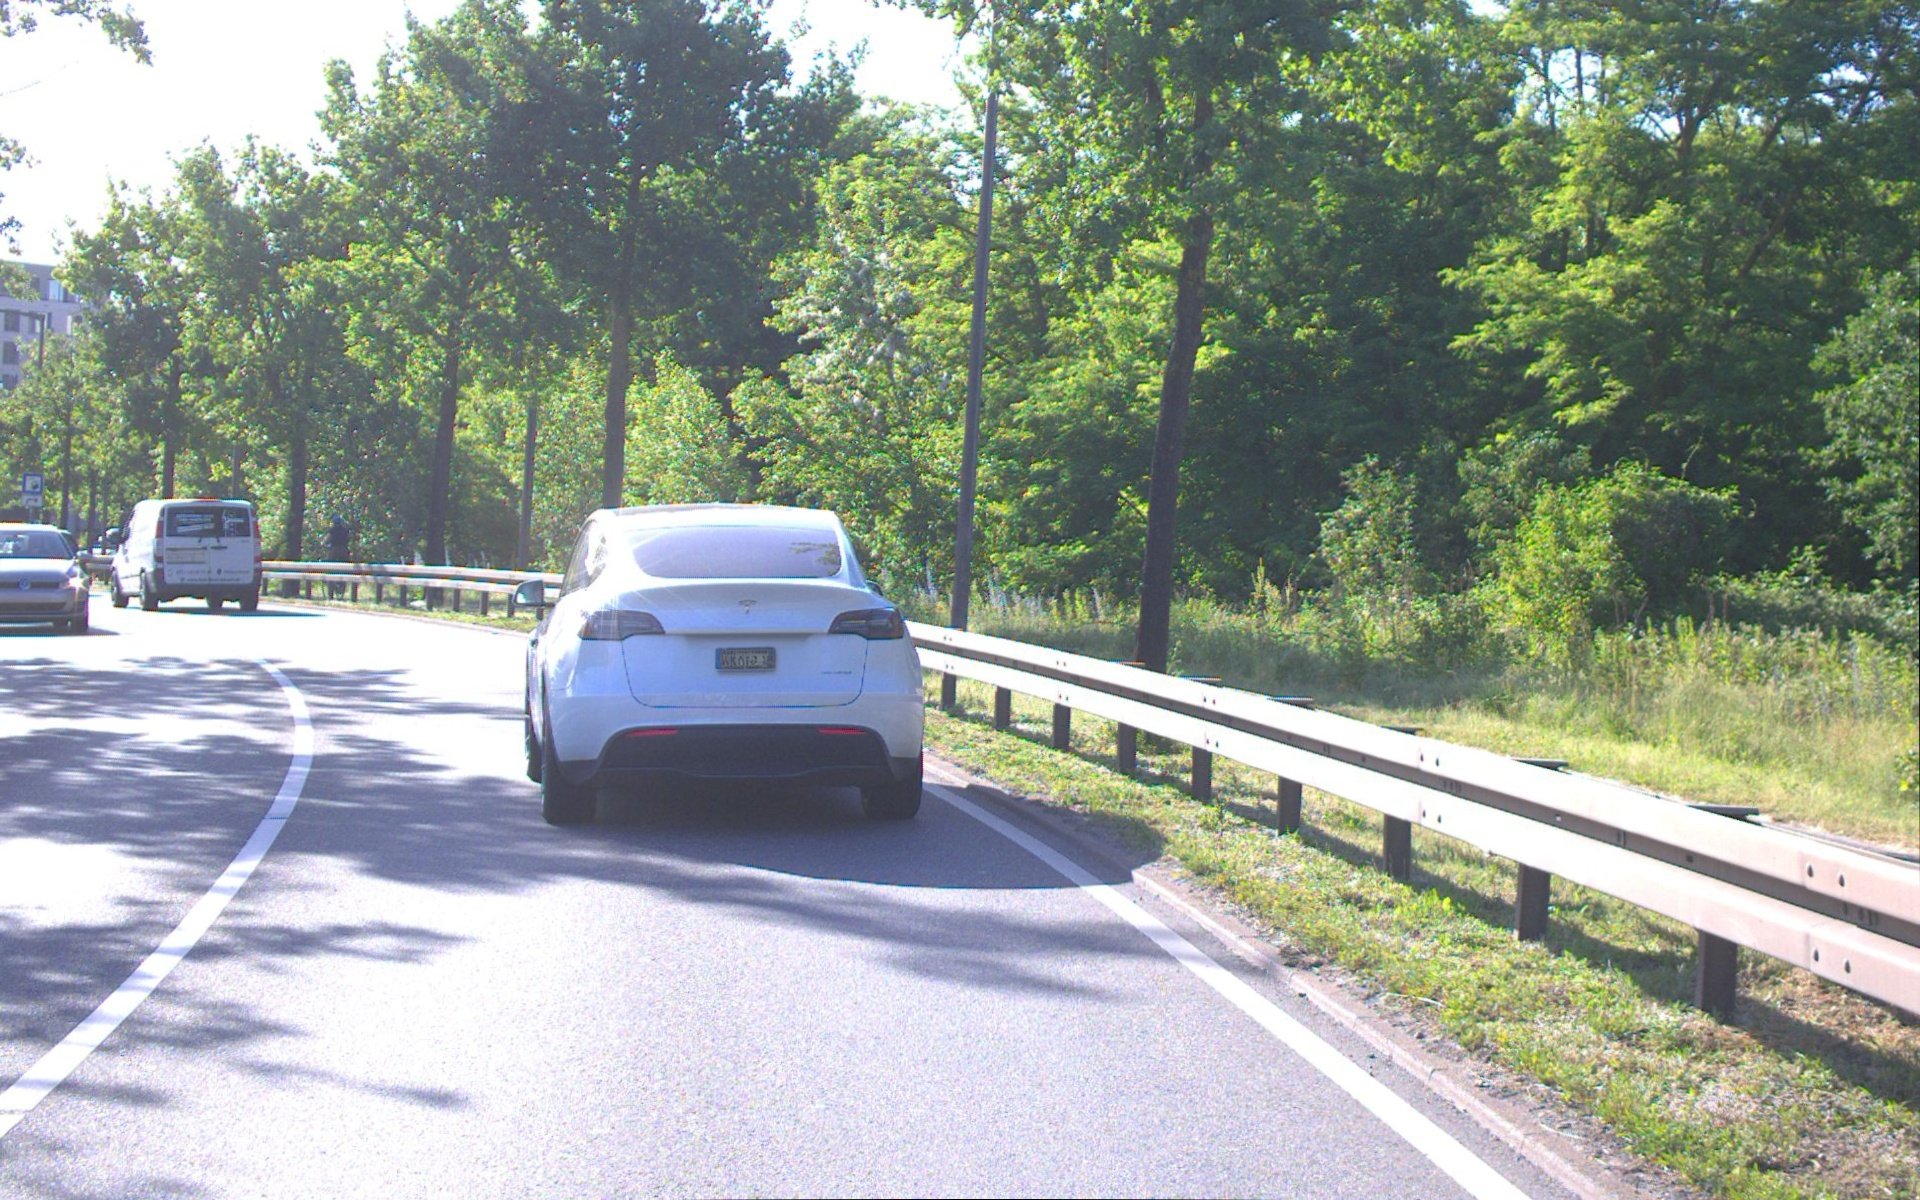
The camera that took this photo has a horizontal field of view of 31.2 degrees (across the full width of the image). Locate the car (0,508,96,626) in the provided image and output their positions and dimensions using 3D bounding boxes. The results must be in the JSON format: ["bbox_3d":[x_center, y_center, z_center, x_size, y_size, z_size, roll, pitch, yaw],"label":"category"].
[{"bbox_3d":[-12.618,-0.465,46.461,1.694,1.513,3.982,1,1,-16],"label":"car"}]

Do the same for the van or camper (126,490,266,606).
[{"bbox_3d":[-13.143,-0.895,58.934,1.958,1.877,4.881,1,1,-17],"label":"van or camper"}]

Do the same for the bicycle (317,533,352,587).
[{"bbox_3d":[-13.227,-0.835,72.712,0.700,1.071,1.921,1,-1,-10],"label":"bicycle"}]

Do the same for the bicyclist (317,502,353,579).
[{"bbox_3d":[-13.213,-1.251,72.671,0.707,1.573,1.005,1,-1,-11],"label":"bicyclist"}]

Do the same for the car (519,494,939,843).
[{"bbox_3d":[-1.371,0.290,18.524,1.913,1.635,4.411,1,1,-8],"label":"car"}]
